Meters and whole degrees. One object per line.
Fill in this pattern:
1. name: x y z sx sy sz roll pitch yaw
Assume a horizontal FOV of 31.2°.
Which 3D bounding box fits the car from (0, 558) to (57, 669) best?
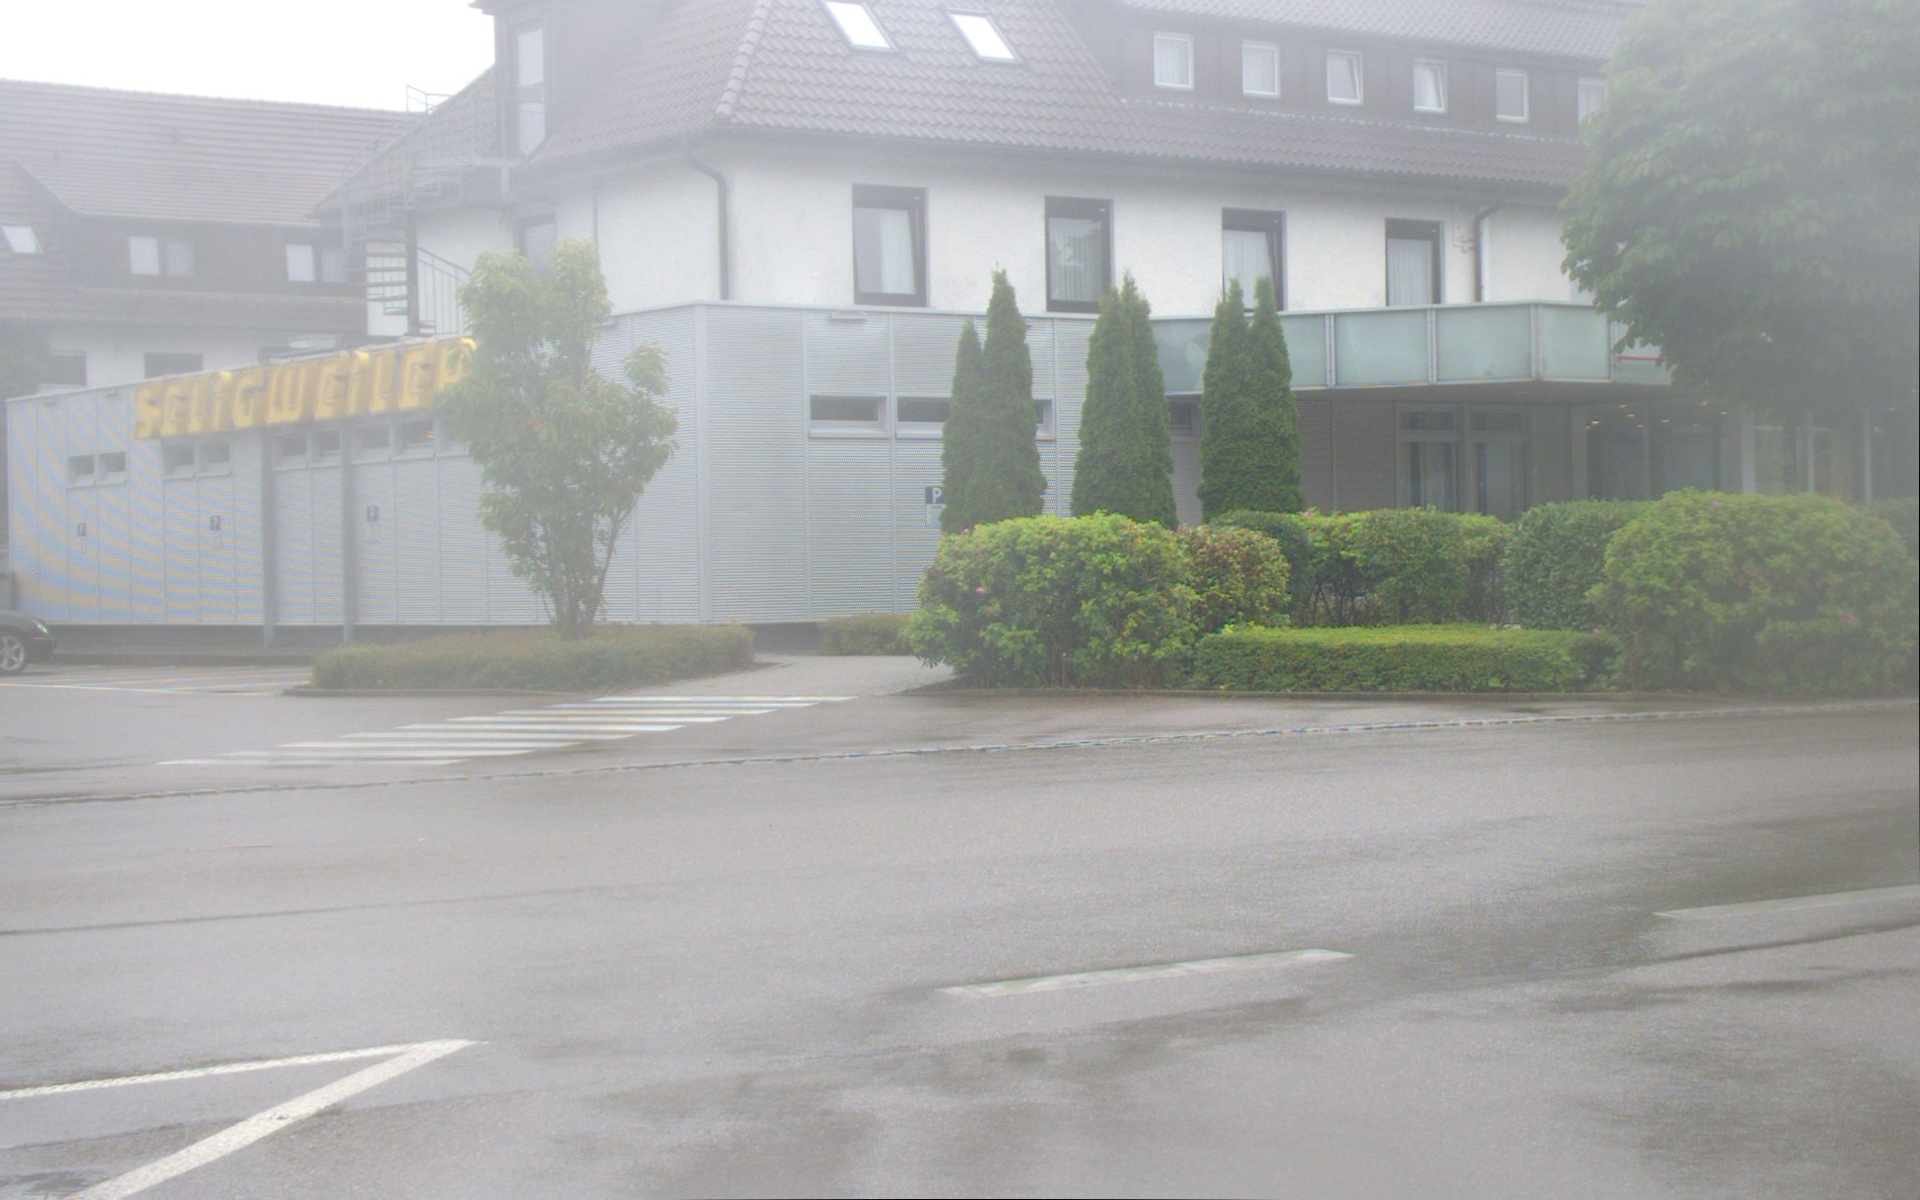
1. car: -14.112 0.228 44.681 4.345 1.420 1.707 -2 1 -24
